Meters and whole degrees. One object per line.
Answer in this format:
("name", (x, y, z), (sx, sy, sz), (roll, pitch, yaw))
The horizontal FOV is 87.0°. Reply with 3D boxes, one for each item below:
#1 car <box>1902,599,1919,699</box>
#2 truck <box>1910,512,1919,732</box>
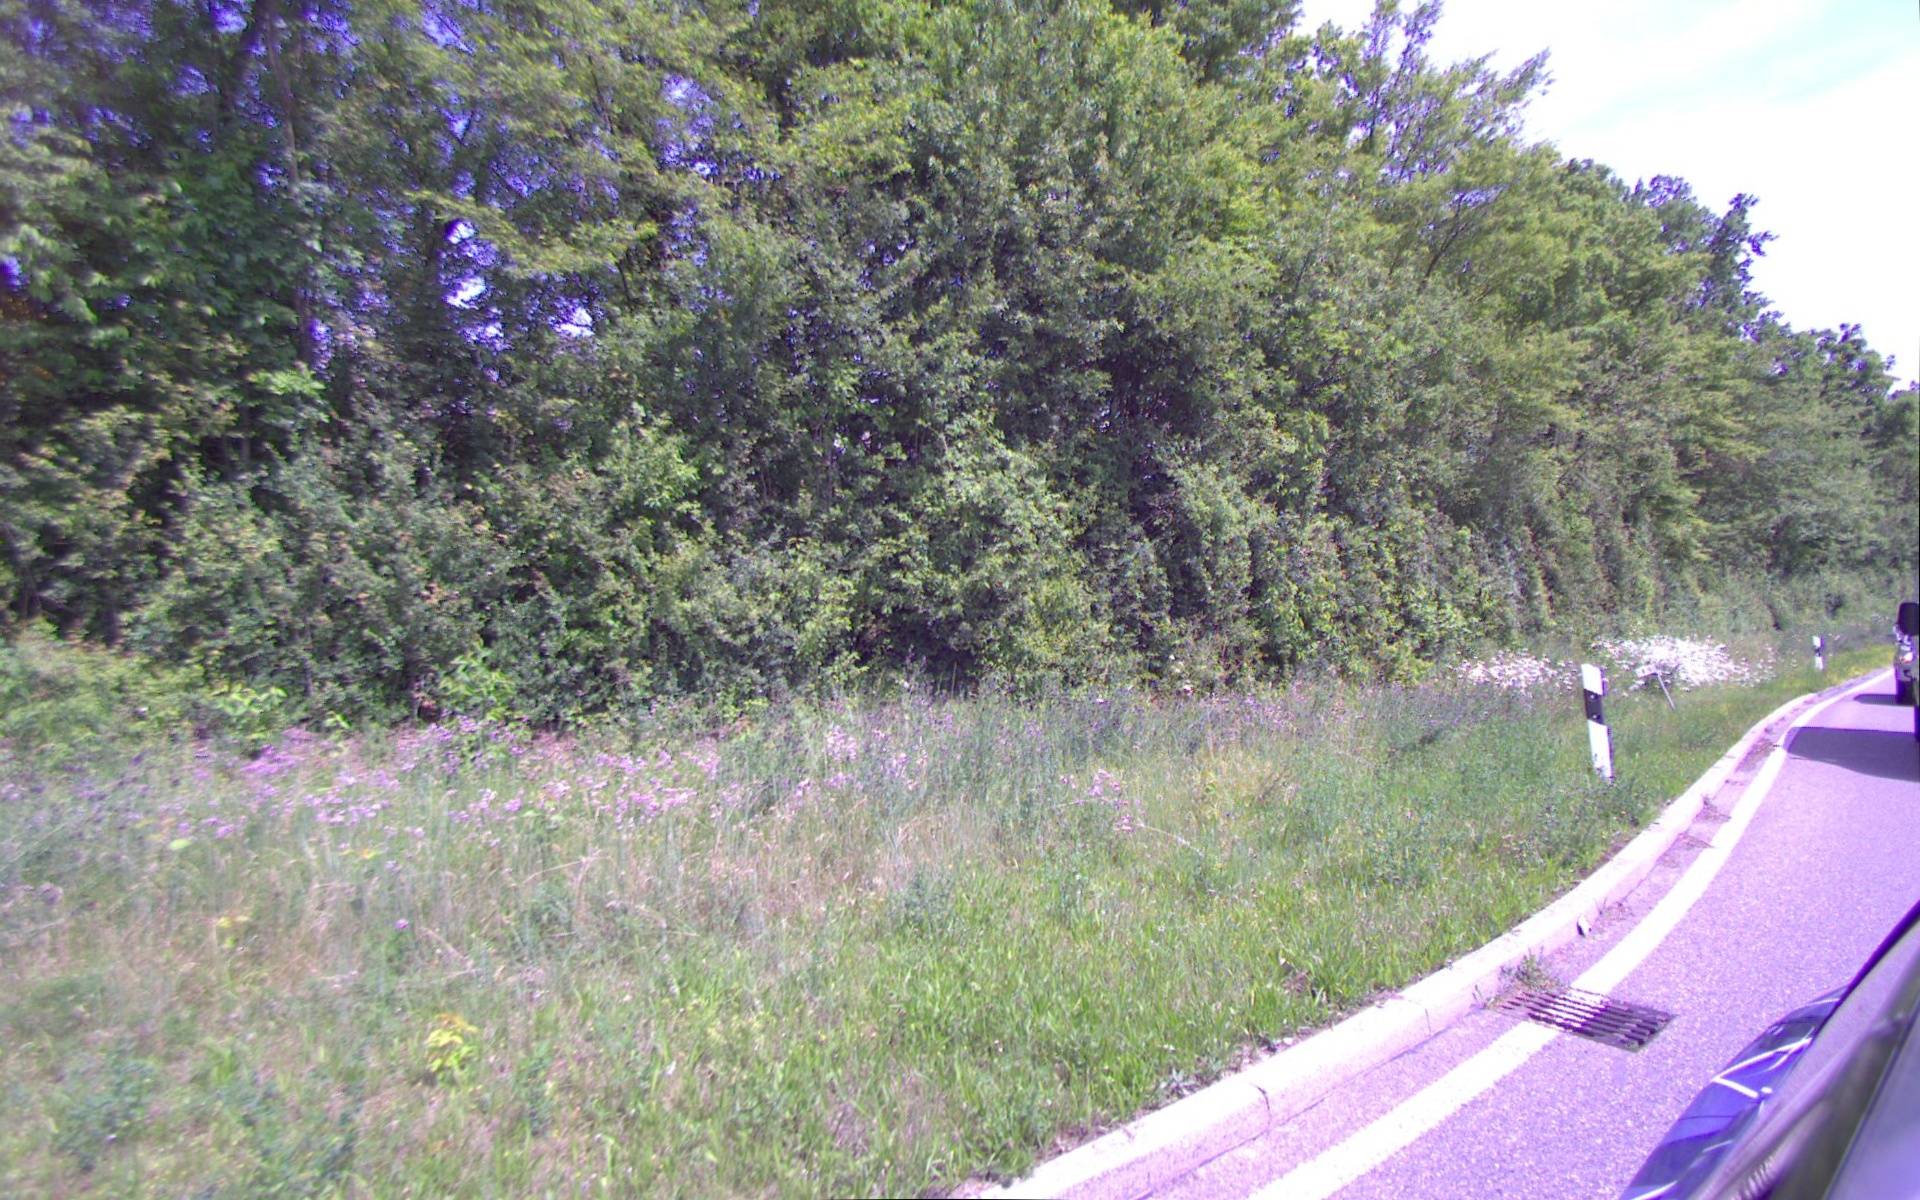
("car", (18.495, 0.876, 18.462), (1.844, 1.730, 4.023), (0, -1, 44))
("truck", (11.240, 0.267, 10.305), (1.991, 2.619, 5.799), (-1, -2, 41))
